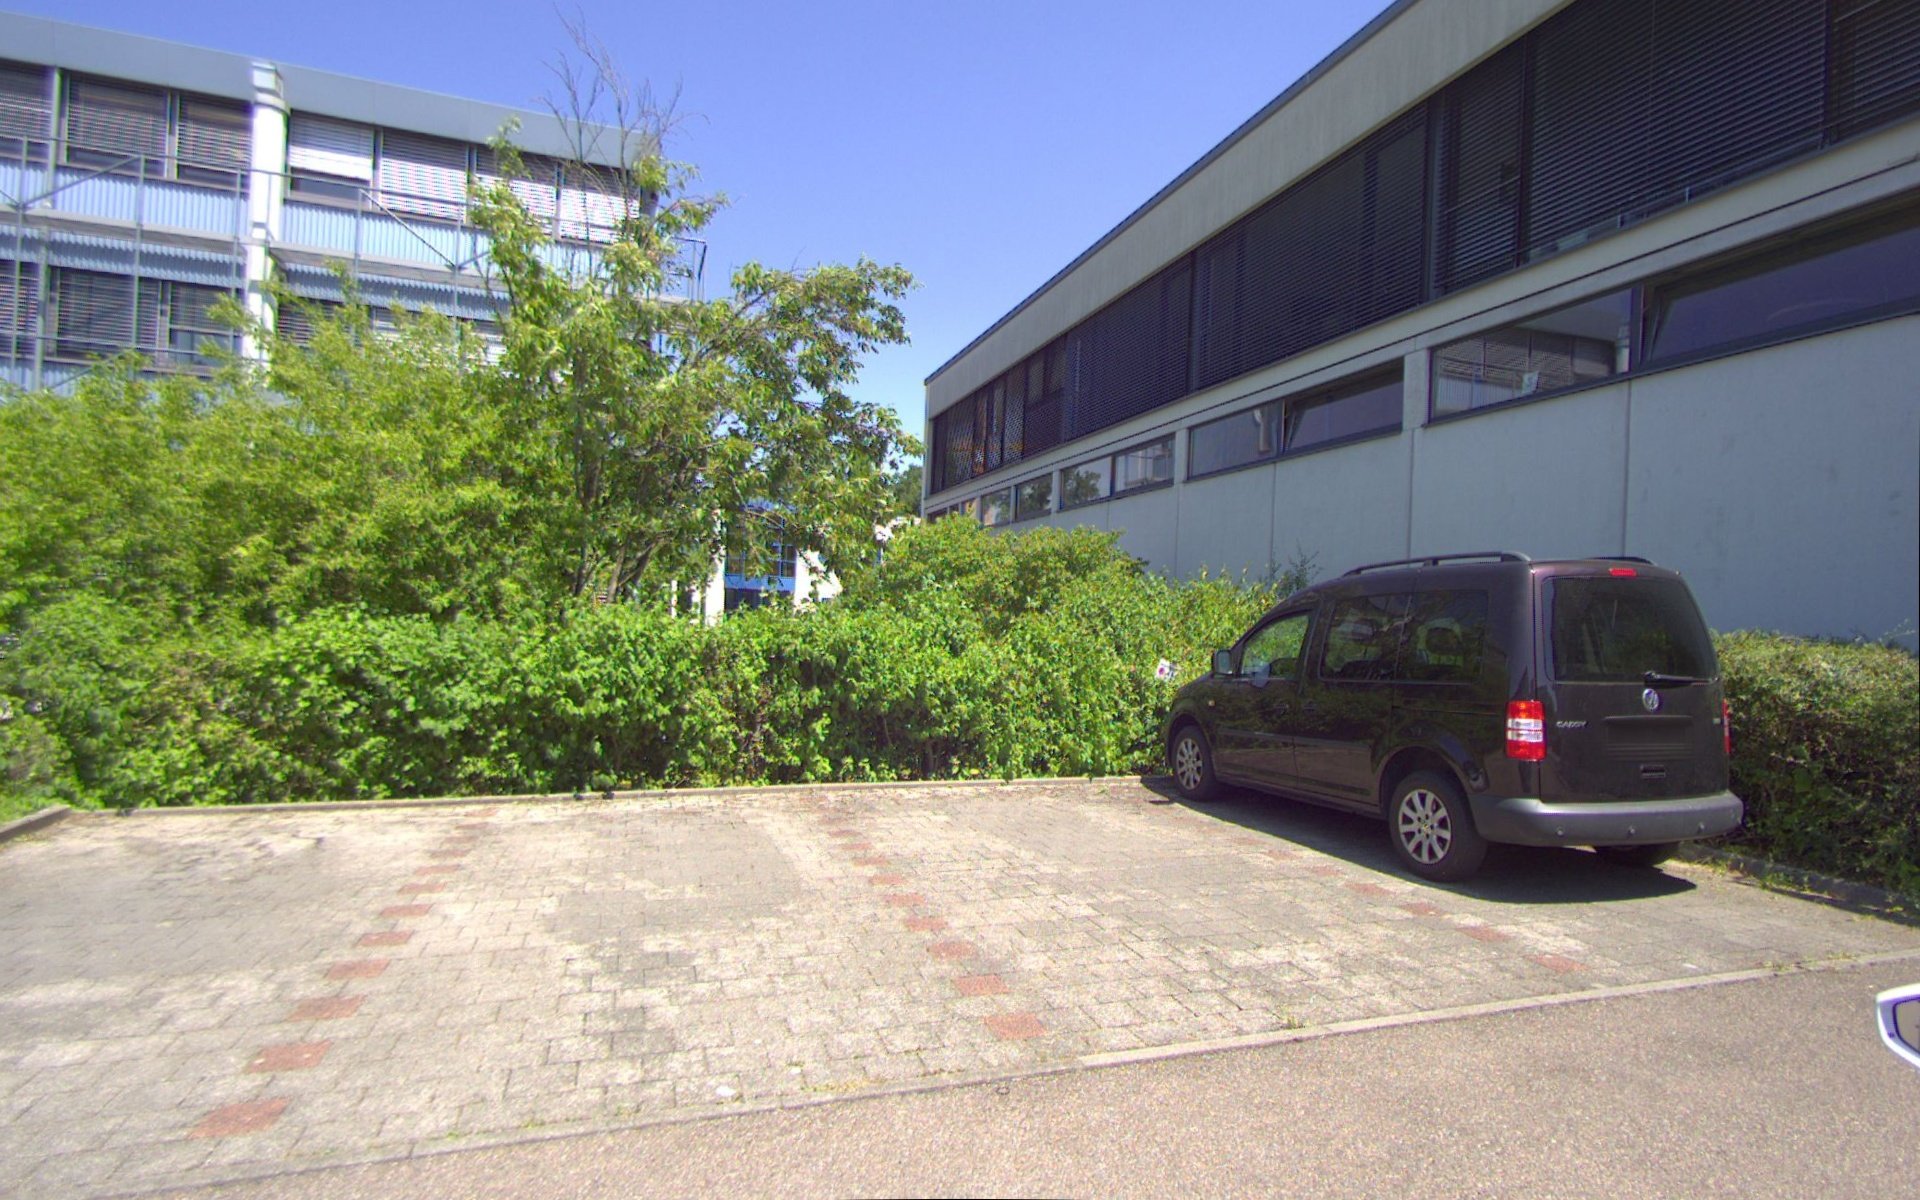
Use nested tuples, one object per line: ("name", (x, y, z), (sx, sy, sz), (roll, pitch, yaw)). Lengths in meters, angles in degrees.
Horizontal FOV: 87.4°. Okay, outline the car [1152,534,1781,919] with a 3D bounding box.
("car", (3.090, 0.658, 7.175), (1.652, 1.909, 4.056), (2, -1, -17))
